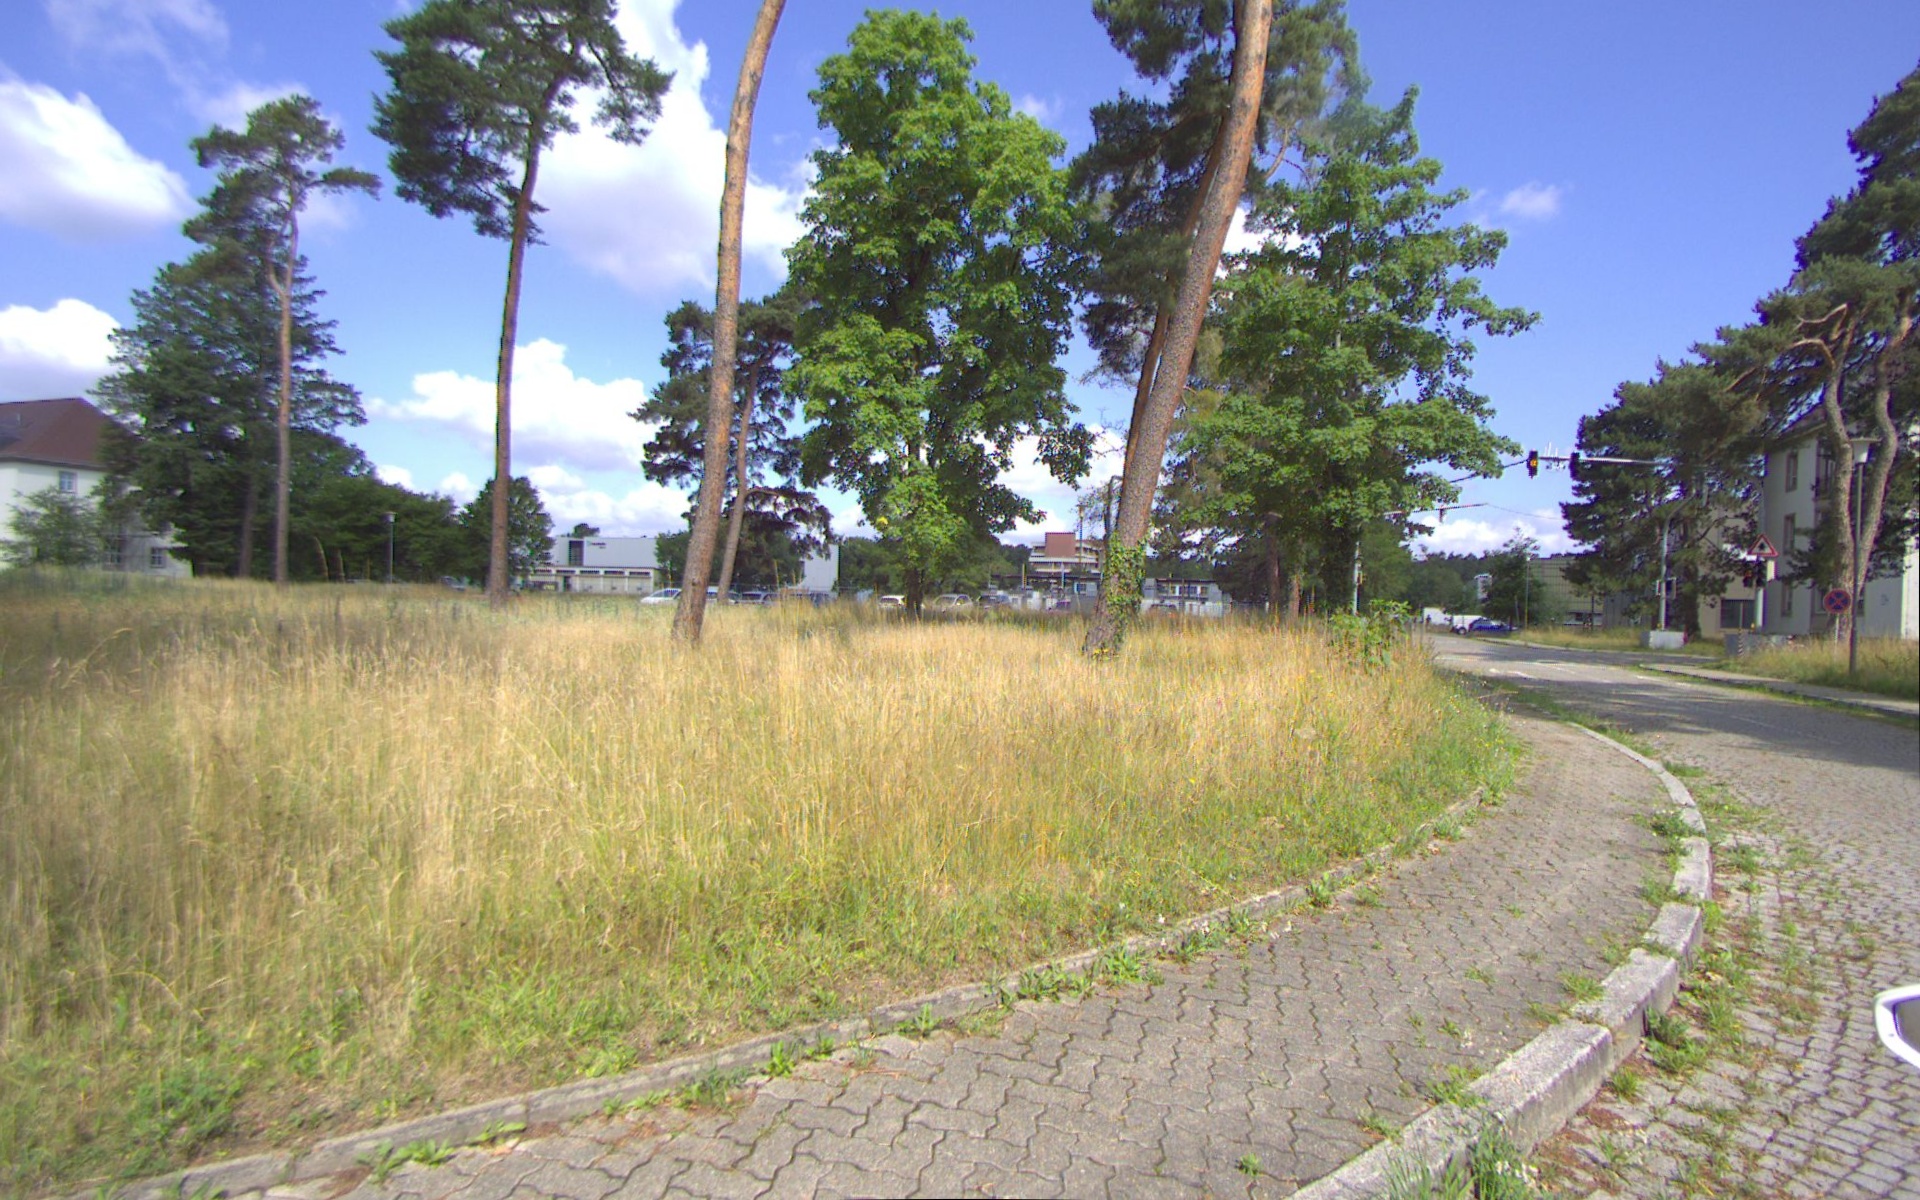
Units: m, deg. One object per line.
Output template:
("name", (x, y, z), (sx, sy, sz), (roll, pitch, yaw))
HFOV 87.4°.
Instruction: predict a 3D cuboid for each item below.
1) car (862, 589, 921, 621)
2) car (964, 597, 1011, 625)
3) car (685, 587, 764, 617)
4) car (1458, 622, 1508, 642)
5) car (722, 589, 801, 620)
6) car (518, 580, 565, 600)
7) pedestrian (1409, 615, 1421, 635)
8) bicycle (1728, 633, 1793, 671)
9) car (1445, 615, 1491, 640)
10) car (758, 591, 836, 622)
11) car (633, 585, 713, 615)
("car", (-3.915, 0.339, 58.250), (1.863, 1.725, 4.079), (2, 0, 20))
("car", (1.824, 0.717, 65.043), (1.863, 1.725, 4.079), (2, 0, 20))
("car", (-11.697, 0.133, 50.161), (1.863, 1.356, 4.079), (2, 0, 20))
("car", (44.114, 2.682, 84.695), (3.626, 1.523, 1.727), (2, 0, 30))
("car", (-9.537, 0.240, 48.545), (1.863, 1.337, 4.079), (2, 0, 20))
("car", (-39.917, -0.929, 95.879), (1.863, 1.725, 4.079), (2, 0, 20))
("pedestrian", (47.903, 2.674, 105.772), (0.951, 2.040, 1.053), (2, 0, 29))
("bicycle", (26.067, 1.683, 32.733), (1.559, 1.115, 0.490), (2, 0, 33))
("car", (47.192, 2.566, 93.340), (3.626, 2.116, 1.727), (2, 0, 30))
("car", (-7.634, 0.319, 47.486), (1.863, 1.326, 4.079), (2, 0, 20))
("car", (-14.578, 0.020, 51.216), (1.863, 1.367, 4.071), (2, 0, 20))
